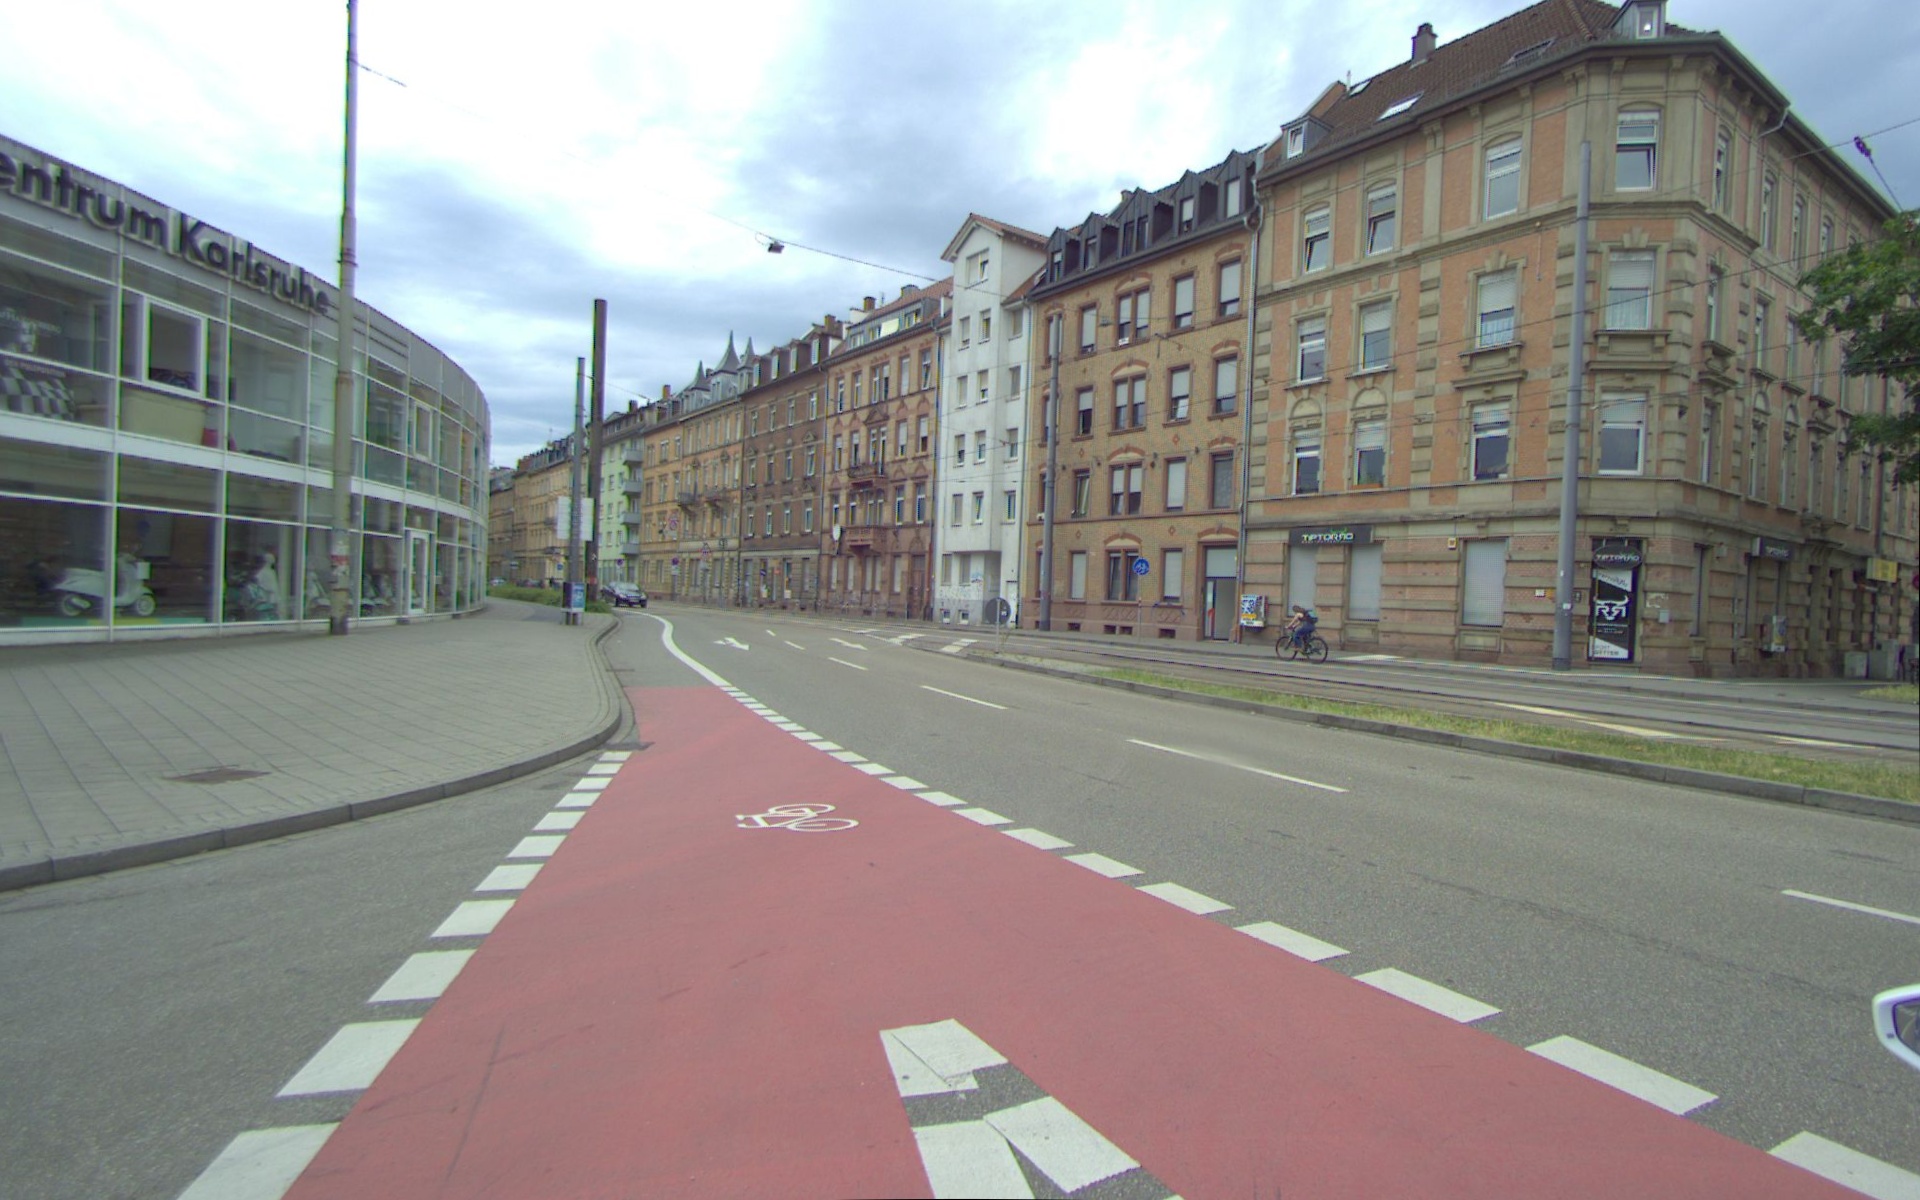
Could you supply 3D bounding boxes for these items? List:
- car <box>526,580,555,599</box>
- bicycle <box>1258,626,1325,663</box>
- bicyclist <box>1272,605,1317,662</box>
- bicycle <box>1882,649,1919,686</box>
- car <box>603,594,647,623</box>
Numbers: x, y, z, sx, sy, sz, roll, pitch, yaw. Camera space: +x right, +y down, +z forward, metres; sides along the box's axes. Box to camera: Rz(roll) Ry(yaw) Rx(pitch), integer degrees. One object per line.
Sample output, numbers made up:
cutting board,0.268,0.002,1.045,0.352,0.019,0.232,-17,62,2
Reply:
car,-39.490,-0.996,94.583,1.784,1.662,4.191,2,0,-33
bicycle,9.177,1.220,27.826,0.602,0.927,1.700,2,1,-38
bicyclist,9.224,0.912,27.743,0.657,1.514,0.932,2,1,-37
bicycle,25.877,1.828,27.172,1.963,0.927,0.658,2,0,-26
car,-18.772,0.451,56.150,1.694,1.440,4.040,2,0,-27
